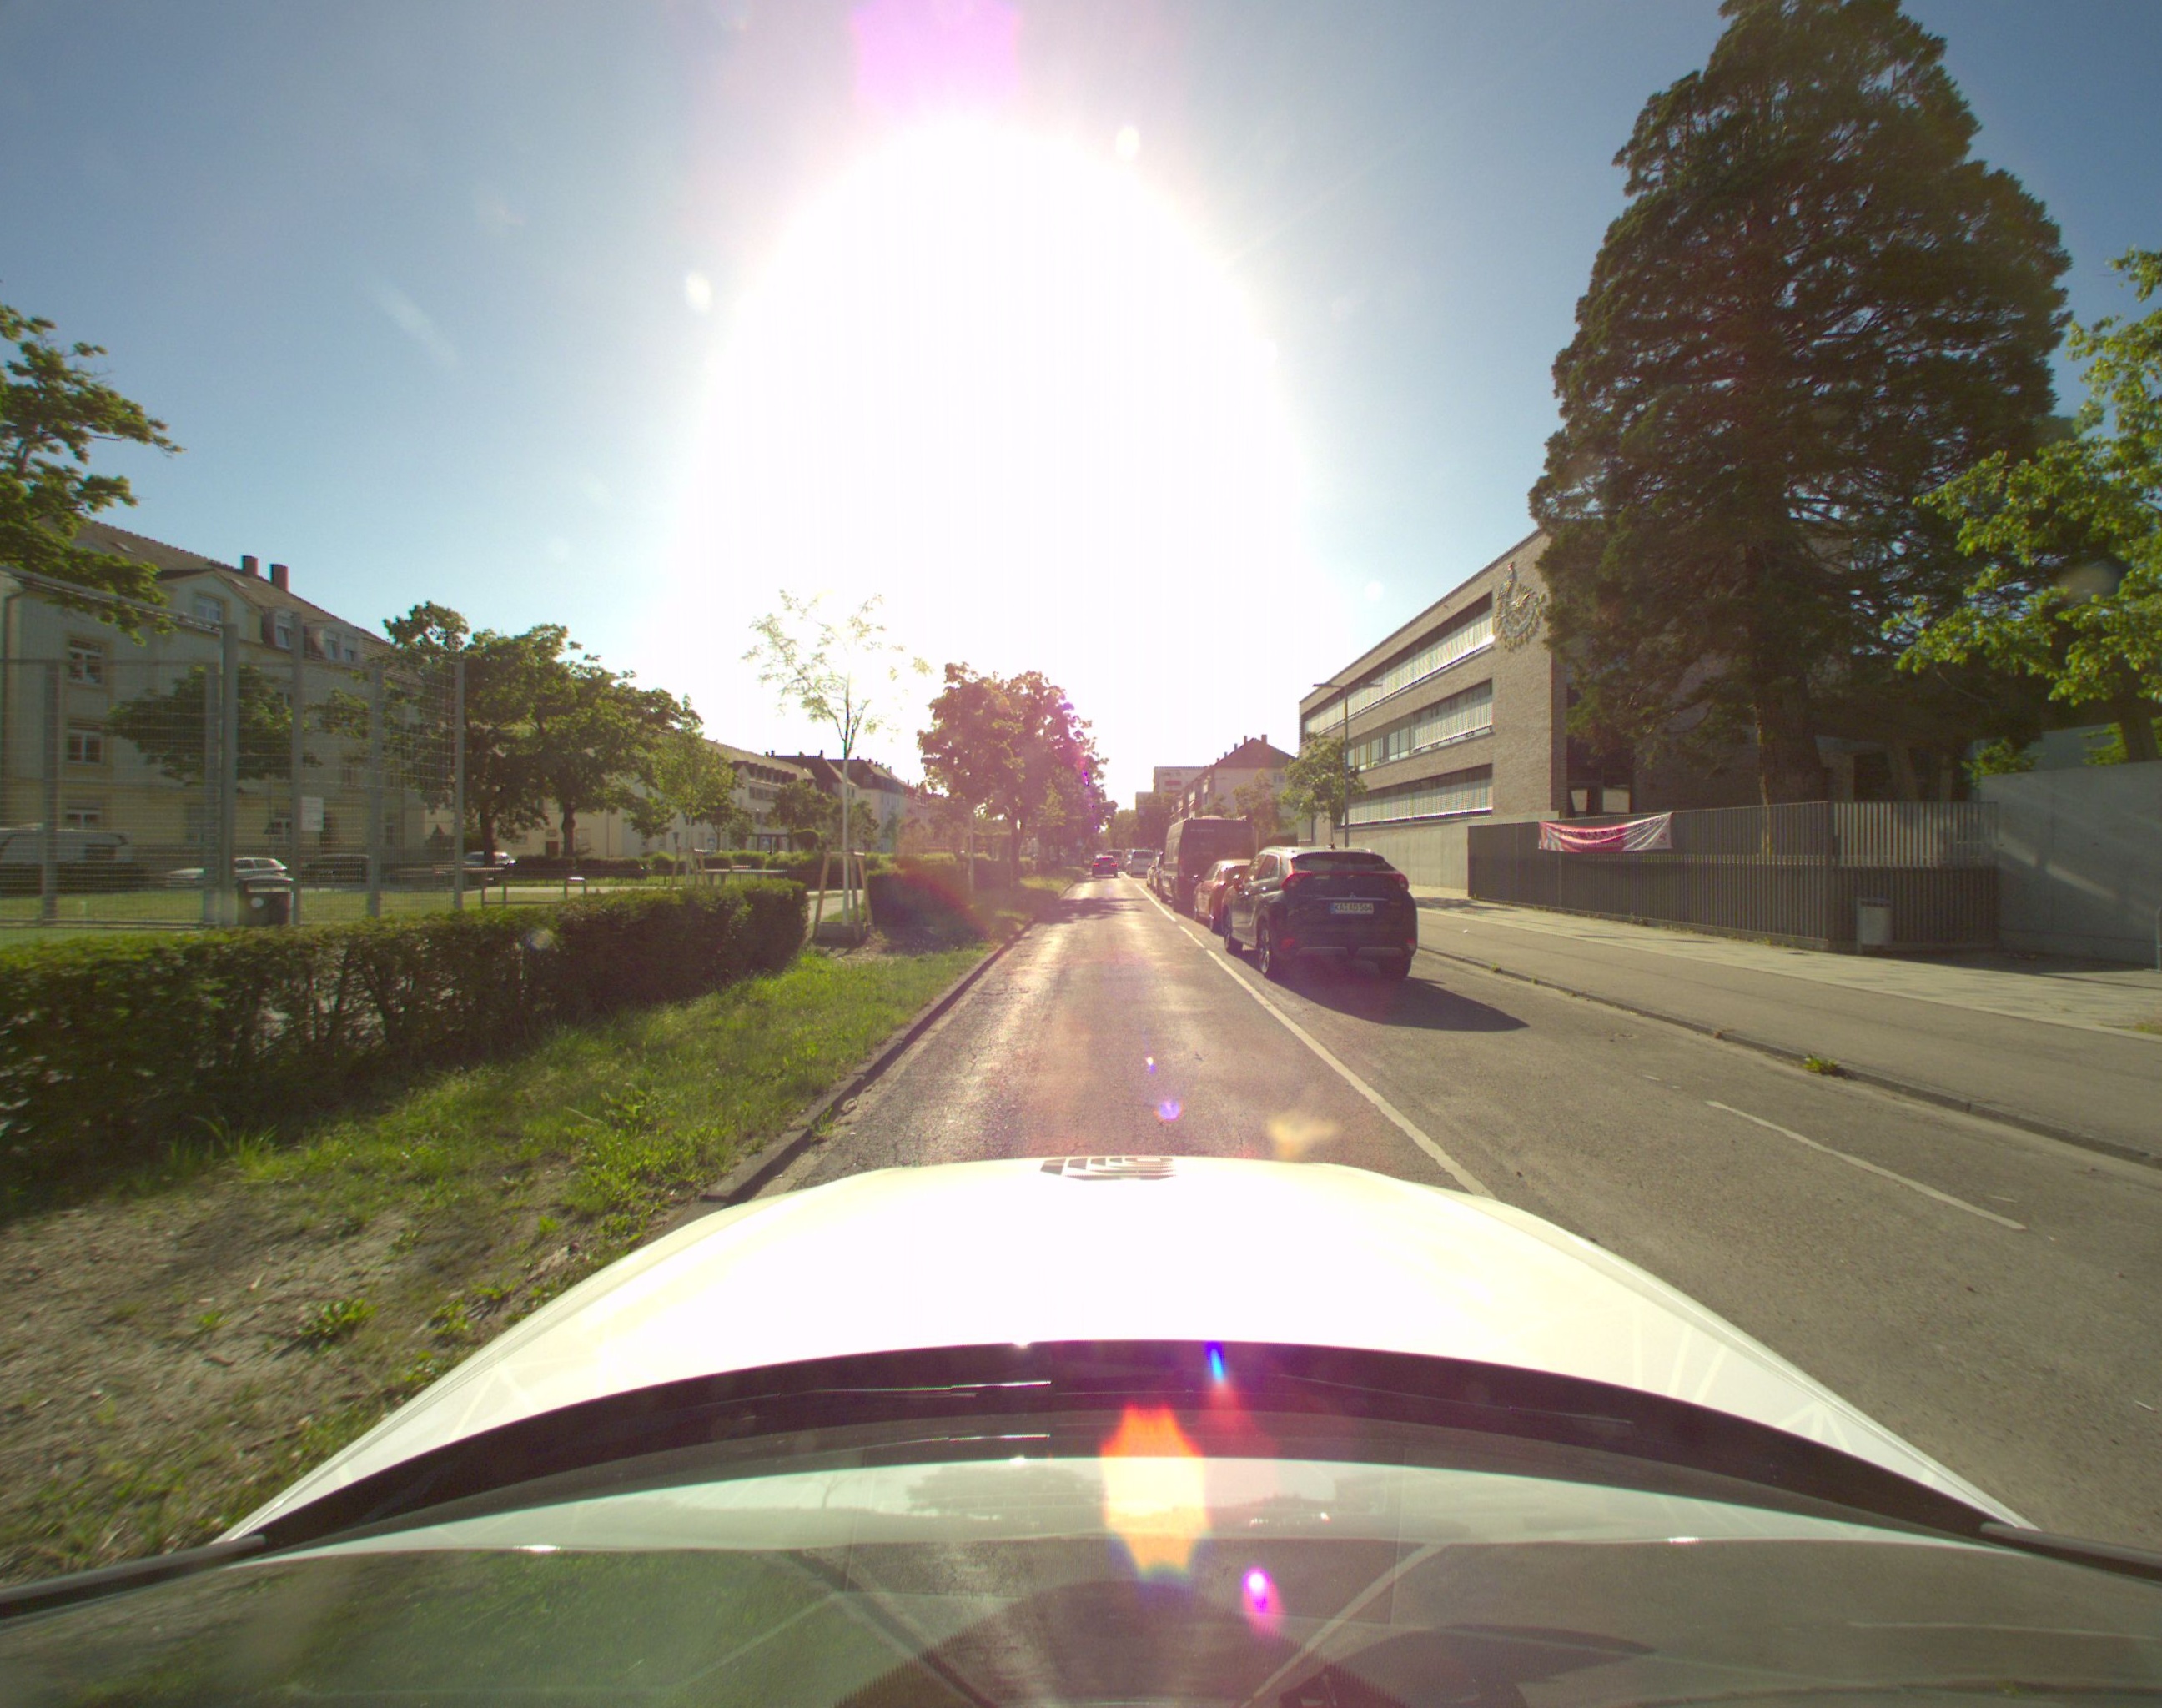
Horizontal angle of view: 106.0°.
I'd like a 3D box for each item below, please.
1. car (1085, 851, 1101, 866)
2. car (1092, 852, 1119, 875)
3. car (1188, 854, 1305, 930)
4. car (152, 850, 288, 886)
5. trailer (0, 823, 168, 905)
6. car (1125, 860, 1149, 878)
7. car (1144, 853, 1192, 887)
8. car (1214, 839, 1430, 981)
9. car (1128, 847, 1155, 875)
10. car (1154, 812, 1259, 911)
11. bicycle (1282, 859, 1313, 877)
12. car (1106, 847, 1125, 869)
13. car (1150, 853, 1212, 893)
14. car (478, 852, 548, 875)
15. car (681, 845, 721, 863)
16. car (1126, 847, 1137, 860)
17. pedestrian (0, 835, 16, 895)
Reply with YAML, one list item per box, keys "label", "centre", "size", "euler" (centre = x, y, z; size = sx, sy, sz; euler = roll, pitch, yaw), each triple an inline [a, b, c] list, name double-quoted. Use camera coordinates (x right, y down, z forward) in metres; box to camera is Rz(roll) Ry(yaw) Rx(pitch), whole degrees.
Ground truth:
- label: "car"
  centre: [1.464, 0.530, 95.553]
  size: [1.787, 1.624, 4.002]
  euler: [1, 0, 2]
- label: "car"
  centre: [1.684, 0.625, 56.567]
  size: [1.787, 1.510, 4.002]
  euler: [0, 0, 2]
- label: "car"
  centre: [3.443, 0.740, 17.613]
  size: [1.788, 1.455, 3.950]
  euler: [0, 0, 1]
- label: "car"
  centre: [-38.779, 0.609, 36.851]
  size: [1.787, 1.510, 4.002]
  euler: [1, 0, 2]
- label: "trailer"
  centre: [-38.822, 0.317, 30.602]
  size: [2.335, 2.870, 5.803]
  euler: [1, 0, 1]
- label: "car"
  centre: [4.348, 1.157, 63.716]
  size: [1.758, 1.319, 4.169]
  euler: [1, -1, 2]
- label: "car"
  centre: [3.893, 0.688, 37.035]
  size: [1.788, 1.420, 4.658]
  euler: [0, 0, 1]
- label: "car"
  centre: [3.169, 0.657, 11.709]
  size: [1.840, 1.640, 4.504]
  euler: [0, 0, 1]
- label: "car"
  centre: [4.253, 0.449, 57.402]
  size: [1.786, 1.855, 4.417]
  euler: [1, 0, 4]
- label: "car"
  centre: [3.482, 0.202, 23.997]
  size: [2.108, 2.515, 6.531]
  euler: [0, 0, 0]
- label: "bicycle"
  centre: [13.792, 0.891, 51.862]
  size: [1.789, 1.107, 0.500]
  euler: [-2, 0, -1]
- label: "car"
  centre: [3.340, 0.390, 78.909]
  size: [1.787, 2.122, 4.002]
  euler: [0, 0, 2]
- label: "car"
  centre: [3.790, 0.673, 31.482]
  size: [1.986, 1.420, 4.638]
  euler: [0, 0, 2]
- label: "car"
  centre: [-38.214, 0.620, 54.931]
  size: [1.787, 1.510, 4.002]
  euler: [1, 0, 2]
- label: "car"
  centre: [-35.482, -0.030, 76.083]
  size: [1.788, 1.652, 4.001]
  euler: [0, 0, 1]
- label: "car"
  centre: [9.629, -0.035, 155.730]
  size: [1.986, 2.430, 4.502]
  euler: [2, 0, 2]
- label: "pedestrian"
  centre: [-30.331, 0.318, 22.609]
  size: [0.645, 1.661, 0.650]
  euler: [0, 0, 1]
